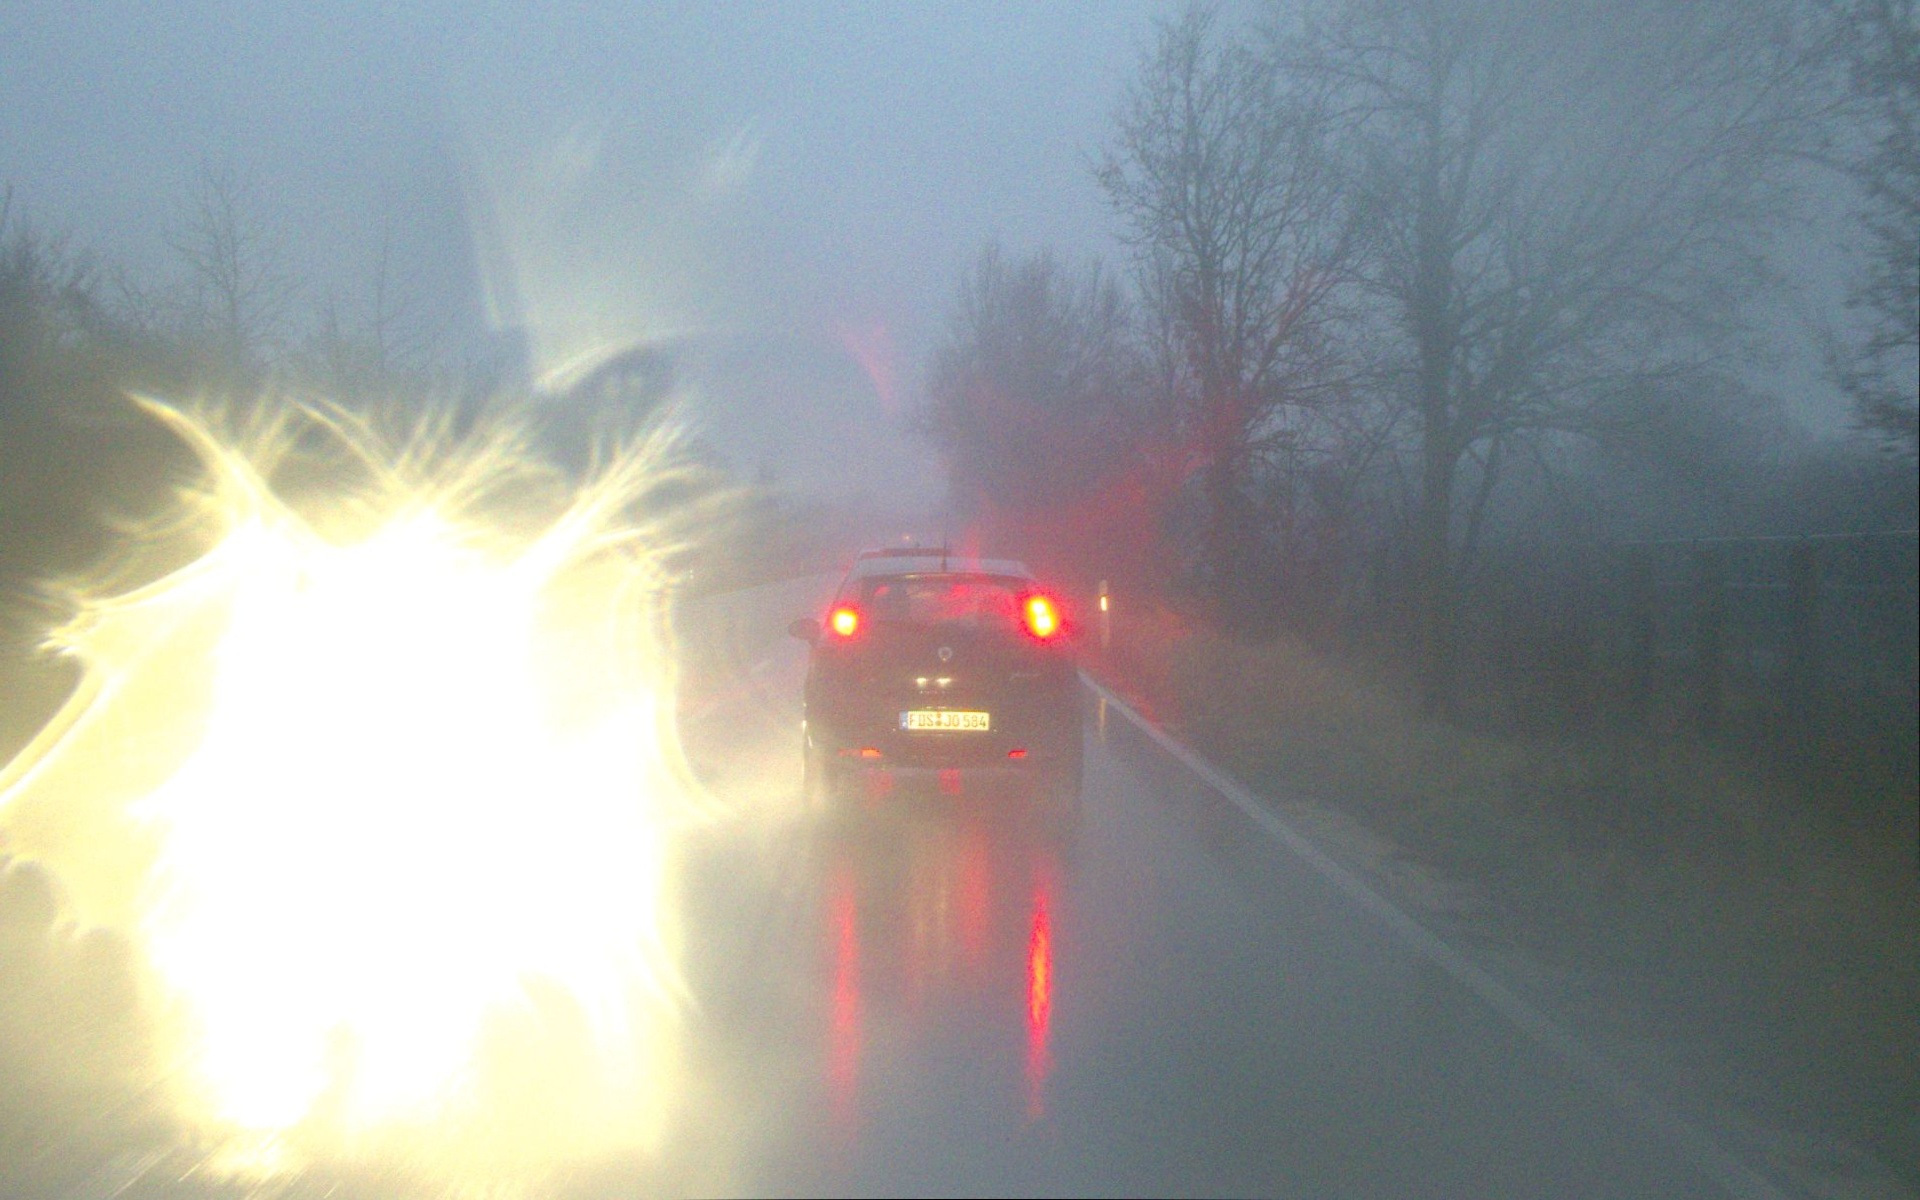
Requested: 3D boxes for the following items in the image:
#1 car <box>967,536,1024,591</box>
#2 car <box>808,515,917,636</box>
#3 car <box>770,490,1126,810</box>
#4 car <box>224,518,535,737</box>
[{"bbox_3d":[1.076,-1.118,103.198,1.564,1.586,3.488,1,1,2],"label":"car"},{"bbox_3d":[-1.558,-0.418,55.840,1.574,1.868,3.709,1,1,1],"label":"car"},{"bbox_3d":[-0.045,0.251,21.642,1.993,1.778,4.000,1,1,1],"label":"car"},{"bbox_3d":[-4.732,0.170,28.657,1.758,1.635,4.686,2,1,0],"label":"car"}]
